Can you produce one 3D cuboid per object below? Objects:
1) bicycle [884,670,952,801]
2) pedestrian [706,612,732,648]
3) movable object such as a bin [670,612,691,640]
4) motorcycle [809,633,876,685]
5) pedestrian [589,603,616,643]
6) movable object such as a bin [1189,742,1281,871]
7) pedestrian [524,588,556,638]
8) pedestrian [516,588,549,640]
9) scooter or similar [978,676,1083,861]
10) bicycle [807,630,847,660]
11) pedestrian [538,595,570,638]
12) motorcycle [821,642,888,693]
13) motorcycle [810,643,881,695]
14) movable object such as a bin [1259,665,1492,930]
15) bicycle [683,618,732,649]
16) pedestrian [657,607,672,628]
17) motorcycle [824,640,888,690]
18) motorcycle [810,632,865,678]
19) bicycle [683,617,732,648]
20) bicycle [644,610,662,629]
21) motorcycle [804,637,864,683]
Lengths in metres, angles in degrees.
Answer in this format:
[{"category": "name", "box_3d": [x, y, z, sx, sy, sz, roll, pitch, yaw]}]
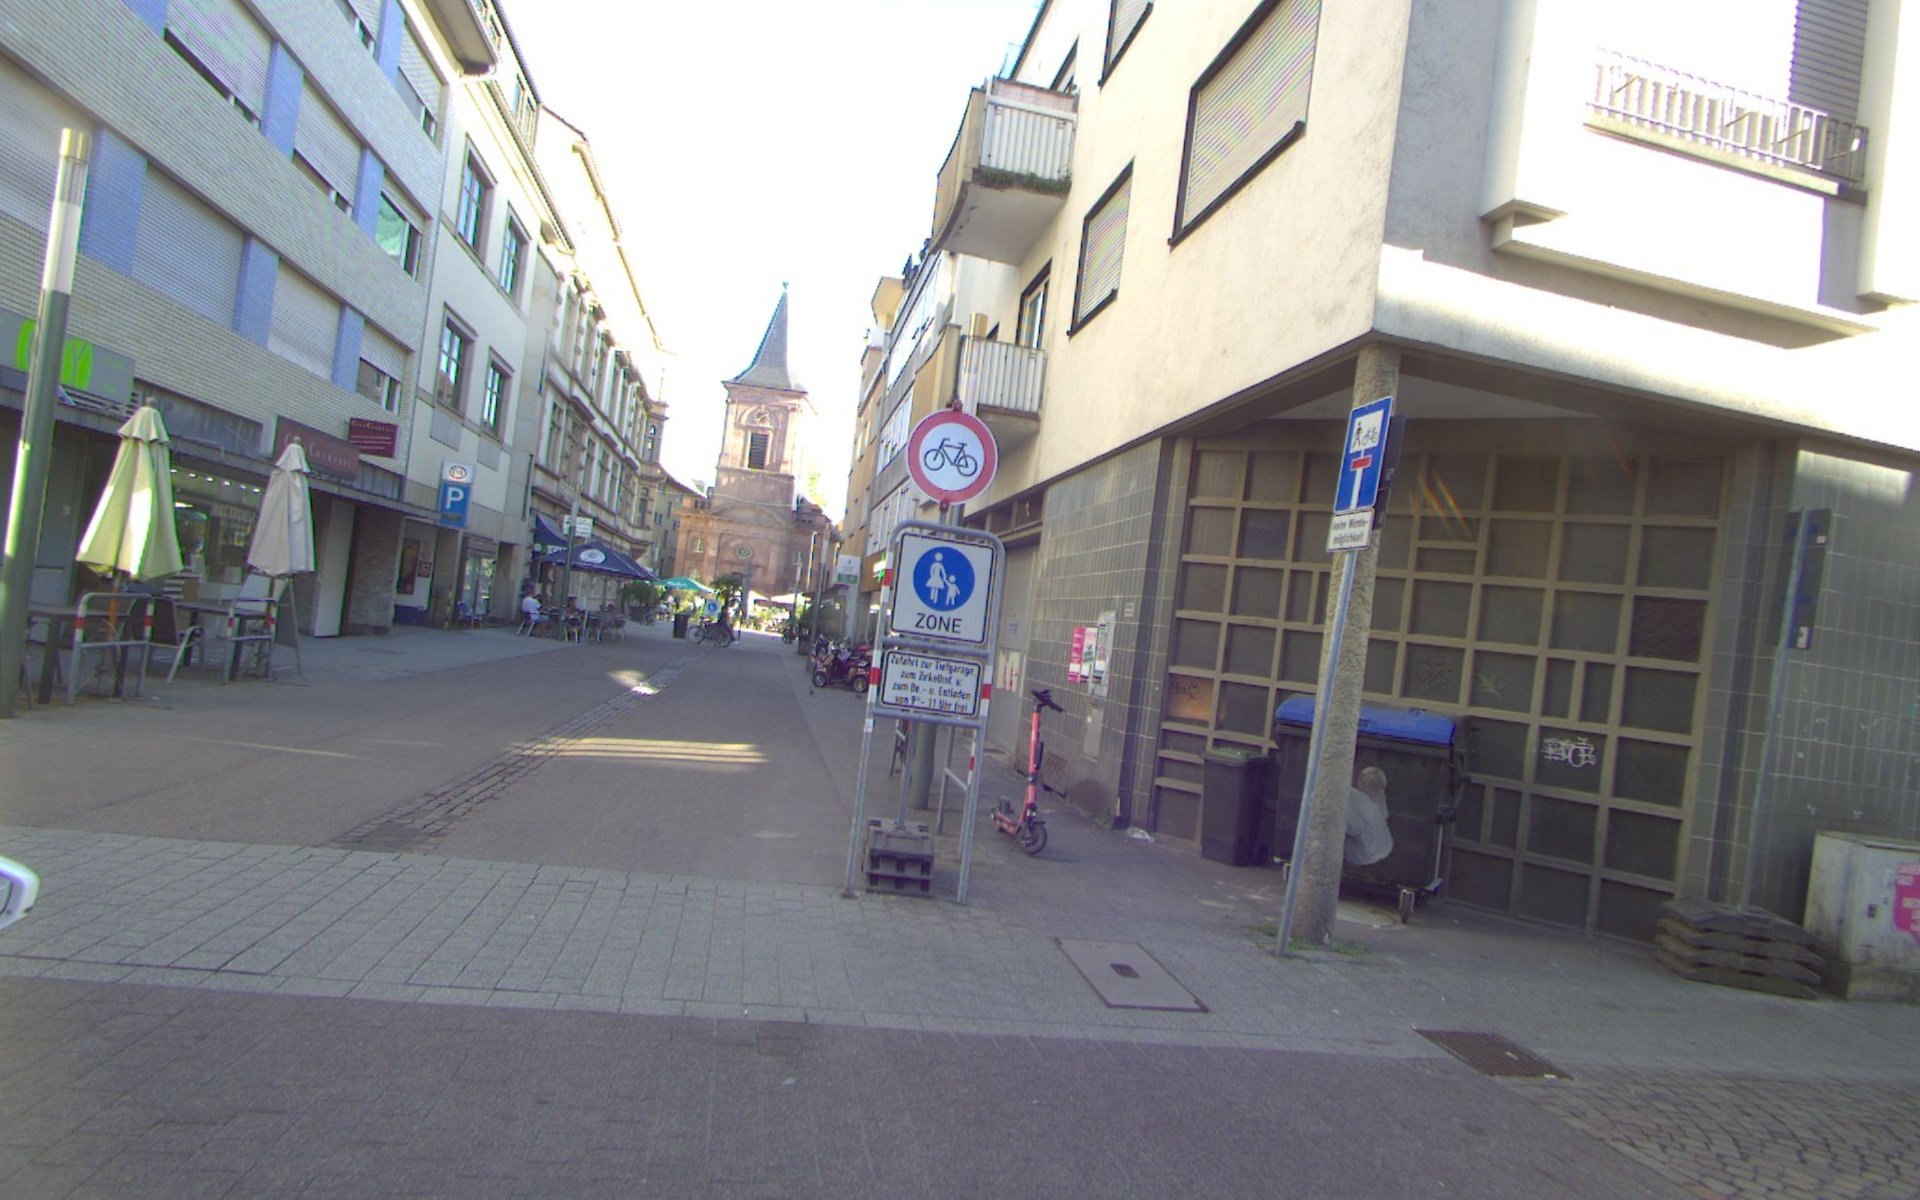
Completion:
[{"category": "bicycle", "box_3d": [-0.457, 1.338, 10.338, 0.440, 1.152, 1.710, 7, -3, -6]}, {"category": "pedestrian", "box_3d": [-10.629, 1.308, 44.380, 0.872, 1.481, 0.730, 7, -1, -11]}, {"category": "movable object such as a bin", "box_3d": [-11.888, 1.106, 42.803, 0.712, 1.087, 0.373, 7, -1, -13]}, {"category": "motorcycle", "box_3d": [-3.148, 1.591, 27.079, 1.599, 1.188, 0.481, 6, -1, 7]}, {"category": "pedestrian", "box_3d": [-11.627, 0.752, 32.765, 0.684, 1.229, 0.581, 7, -1, -19]}, {"category": "movable object such as a bin", "box_3d": [2.298, 1.698, 8.390, 0.532, 0.934, 0.512, 6, -2, 31]}, {"category": "pedestrian", "box_3d": [-12.515, 0.380, 29.950, 0.710, 1.384, 0.706, 7, -1, -23]}, {"category": "pedestrian", "box_3d": [-12.291, 0.390, 28.916, 0.701, 1.384, 0.716, 7, -1, -23]}, {"category": "scooter or similar", "box_3d": [0.532, 1.291, 8.012, 0.303, 1.267, 1.236, 7, -2, -15]}, {"category": "bicycle", "box_3d": [-5.346, 1.826, 40.464, 1.442, 1.016, 0.573, 7, -1, -5]}, {"category": "pedestrian", "box_3d": [-12.743, 0.524, 31.615, 0.756, 1.247, 0.828, 7, -1, -19]}, {"category": "motorcycle", "box_3d": [-2.615, 1.661, 24.892, 1.492, 1.088, 0.412, 6, -1, 7]}, {"category": "motorcycle", "box_3d": [-2.733, 1.657, 24.097, 1.539, 1.054, 0.373, 6, -1, 7]}, {"category": "movable object such as a bin", "box_3d": [3.117, 1.382, 7.507, 1.271, 1.608, 1.153, 6, 0, 33]}, {"category": "bicycle", "box_3d": [-10.002, 1.325, 39.881, 1.801, 1.016, 0.380, 8, -1, -15]}, {"category": "pedestrian", "box_3d": [-19.197, 1.136, 65.414, 0.690, 1.232, 0.719, 7, -1, -6]}, {"category": "motorcycle", "box_3d": [-2.673, 1.666, 25.842, 1.460, 1.088, 0.412, 6, -1, 7]}, {"category": "motorcycle", "box_3d": [-3.615, 1.618, 29.736, 1.460, 1.195, 0.412, 6, -1, 4]}, {"category": "bicycle", "box_3d": [-10.089, 1.304, 40.260, 1.801, 1.016, 0.380, 8, -1, -15]}, {"category": "bicycle", "box_3d": [-15.670, 1.006, 51.413, 0.450, 0.859, 2.145, 7, -2, -8]}, {"category": "motorcycle", "box_3d": [-3.486, 1.650, 27.853, 1.460, 1.088, 0.412, 6, -1, 7]}]
